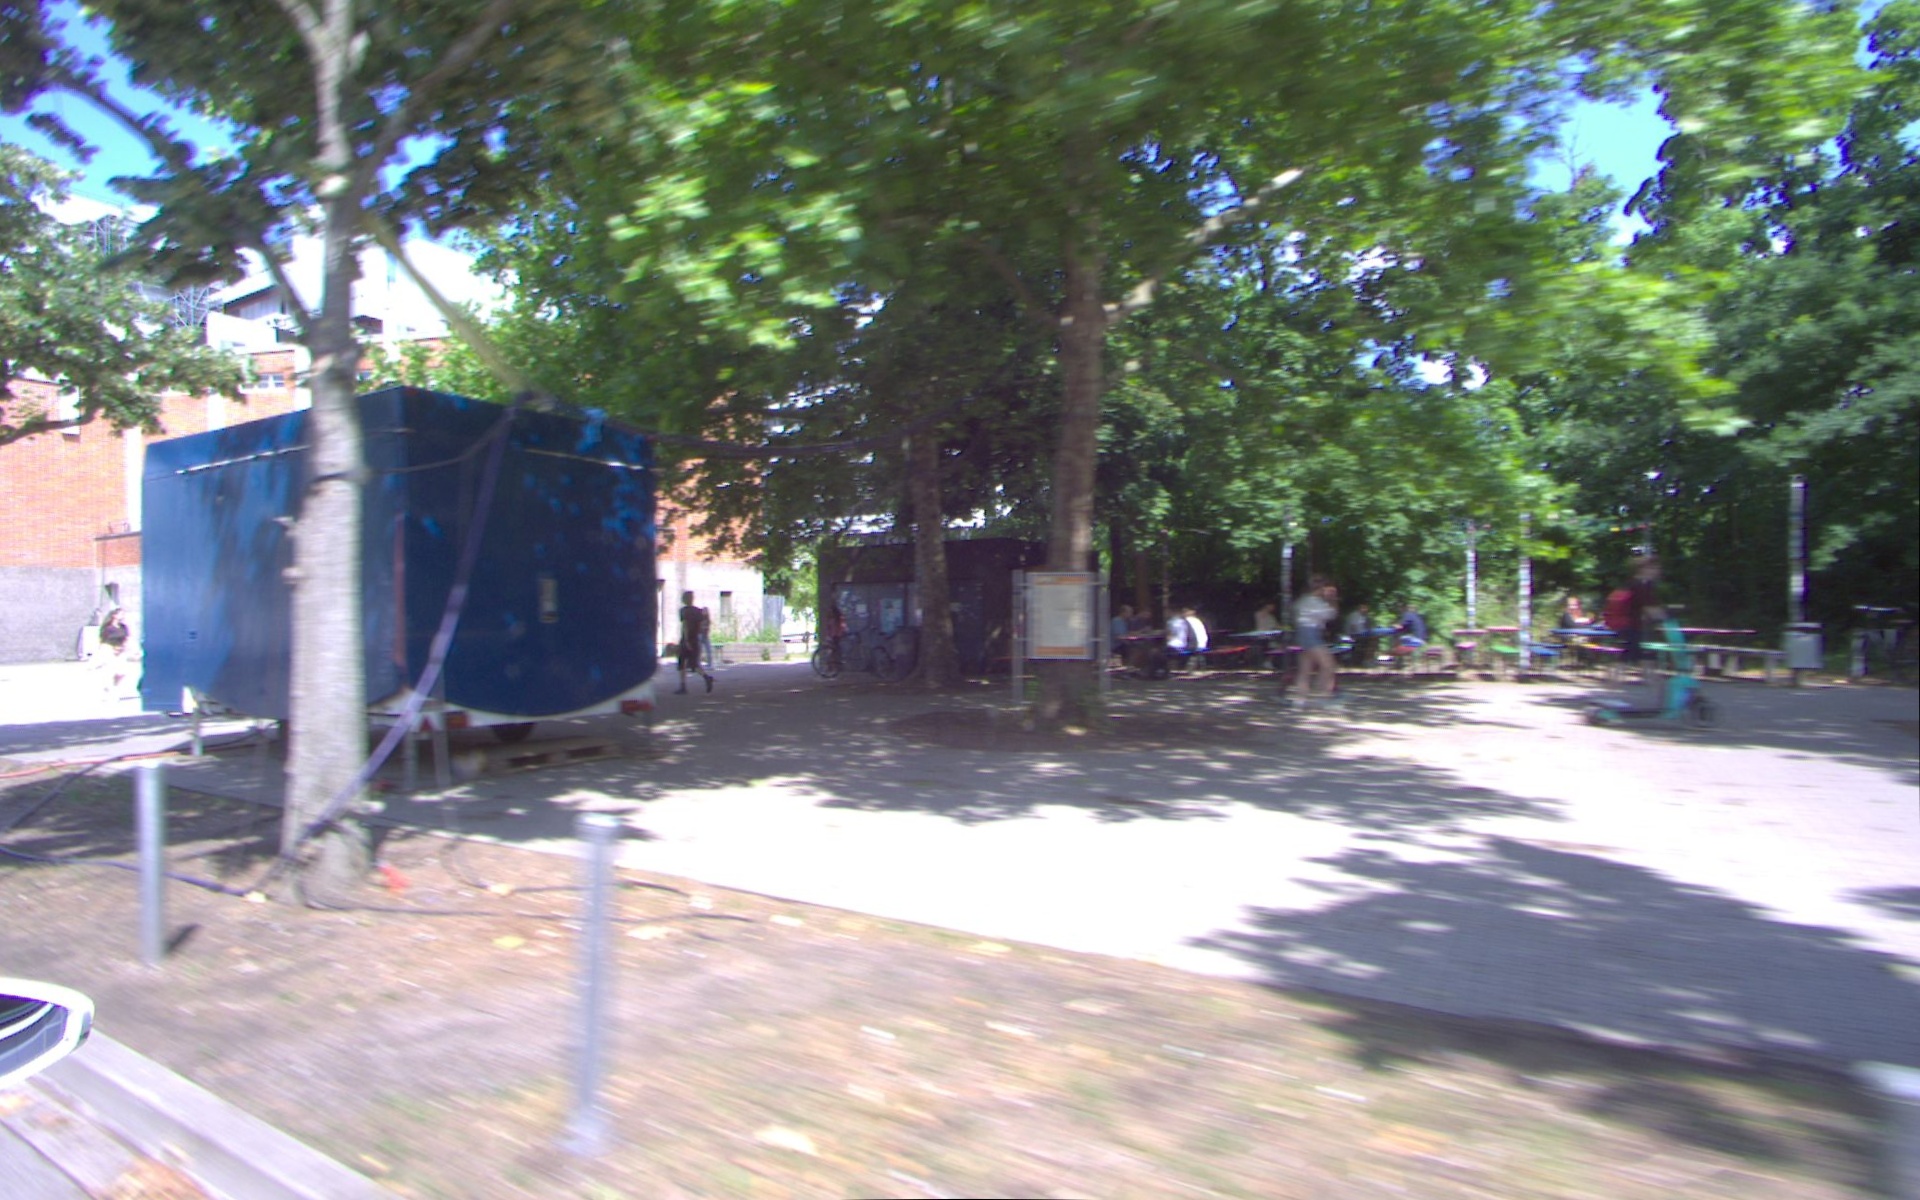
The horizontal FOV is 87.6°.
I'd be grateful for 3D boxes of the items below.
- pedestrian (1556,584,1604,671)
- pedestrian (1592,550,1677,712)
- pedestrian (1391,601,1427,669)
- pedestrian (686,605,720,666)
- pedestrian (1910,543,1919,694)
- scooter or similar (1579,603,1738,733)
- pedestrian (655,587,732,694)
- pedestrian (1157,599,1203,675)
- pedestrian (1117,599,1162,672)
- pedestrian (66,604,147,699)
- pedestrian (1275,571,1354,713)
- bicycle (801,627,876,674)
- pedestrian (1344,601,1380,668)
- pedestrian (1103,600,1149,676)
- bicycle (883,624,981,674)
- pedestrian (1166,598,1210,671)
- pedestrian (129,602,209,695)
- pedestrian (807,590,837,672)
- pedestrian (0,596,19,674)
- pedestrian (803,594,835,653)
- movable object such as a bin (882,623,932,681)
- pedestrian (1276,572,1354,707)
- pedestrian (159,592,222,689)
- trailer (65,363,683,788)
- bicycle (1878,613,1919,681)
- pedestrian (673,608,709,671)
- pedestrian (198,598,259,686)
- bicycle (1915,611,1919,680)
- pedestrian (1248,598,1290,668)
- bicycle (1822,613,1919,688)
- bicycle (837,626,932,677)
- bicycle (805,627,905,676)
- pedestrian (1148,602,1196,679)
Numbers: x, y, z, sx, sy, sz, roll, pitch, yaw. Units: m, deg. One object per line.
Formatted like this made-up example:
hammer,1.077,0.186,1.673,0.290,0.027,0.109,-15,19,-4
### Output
pedestrian,11.748,0.511,18.995,0.707,1.604,0.665,1,3,27
pedestrian,8.191,0.365,12.192,0.812,1.879,0.763,0,1,32
pedestrian,8.936,0.679,19.932,0.612,1.289,0.665,1,3,27
pedestrian,-7.057,0.967,27.525,0.669,1.628,0.657,0,1,17
pedestrian,12.994,0.244,12.703,1.058,1.975,0.834,0,2,12
scooter or similar,6.996,0.666,10.088,1.276,1.234,0.423,-1,0,33
pedestrian,-4.654,0.689,17.513,0.904,1.799,0.958,1,1,24
pedestrian,4.138,0.680,18.815,0.718,1.365,0.568,1,3,28
pedestrian,3.476,0.669,19.399,0.718,1.365,0.568,1,3,28
pedestrian,-15.640,0.907,18.354,0.935,1.660,0.873,1,2,32
pedestrian,4.366,0.502,12.329,0.777,1.683,0.696,0,1,32
bicycle,-3.110,1.276,25.600,1.997,1.154,0.572,0,-1,32
pedestrian,8.132,0.681,20.229,0.612,1.289,0.665,1,3,27
pedestrian,3.099,0.701,18.681,0.718,1.365,0.568,1,3,28
bicycle,-0.600,1.100,22.626,0.775,1.085,2.383,-1,-3,44
pedestrian,4.401,0.657,19.331,0.718,1.365,0.568,1,3,28
pedestrian,-15.148,0.904,19.189,0.935,1.661,0.873,3,5,32
pedestrian,-3.263,0.737,23.682,0.523,1.907,0.445,0,0,42
pedestrian,-22.729,0.833,23.449,0.740,1.812,0.708,0,2,23
pedestrian,-4.668,0.786,33.195,0.719,1.907,0.833,-2,0,22
movable object such as a bin,-1.019,1.005,19.373,0.732,1.085,0.598,-2,-1,33
pedestrian,4.610,0.497,12.991,0.812,1.683,0.763,0,1,32
pedestrian,-15.766,0.801,20.522,0.979,1.917,0.700,1,2,32
trailer,-5.996,-0.150,10.036,6.165,3.092,2.687,-1,1,31
bicycle,14.471,0.706,14.788,0.430,0.992,1.958,-1,0,13
pedestrian,-7.118,1.030,26.530,0.669,1.628,0.657,0,1,17
pedestrian,-15.595,0.865,21.358,0.979,1.828,0.700,0,1,31
bicycle,14.866,0.707,14.585,0.427,1.053,1.958,-1,0,13
pedestrian,6.236,0.653,20.227,0.708,1.365,0.665,1,3,27
bicycle,13.550,0.705,14.618,0.601,0.992,1.958,-1,0,13
bicycle,-1.701,1.162,23.010,0.773,1.085,2.387,-1,-1,39
bicycle,-2.442,1.182,23.536,0.775,1.085,2.382,-1,-1,44
pedestrian,3.878,0.725,18.299,0.718,1.365,0.568,1,3,28
